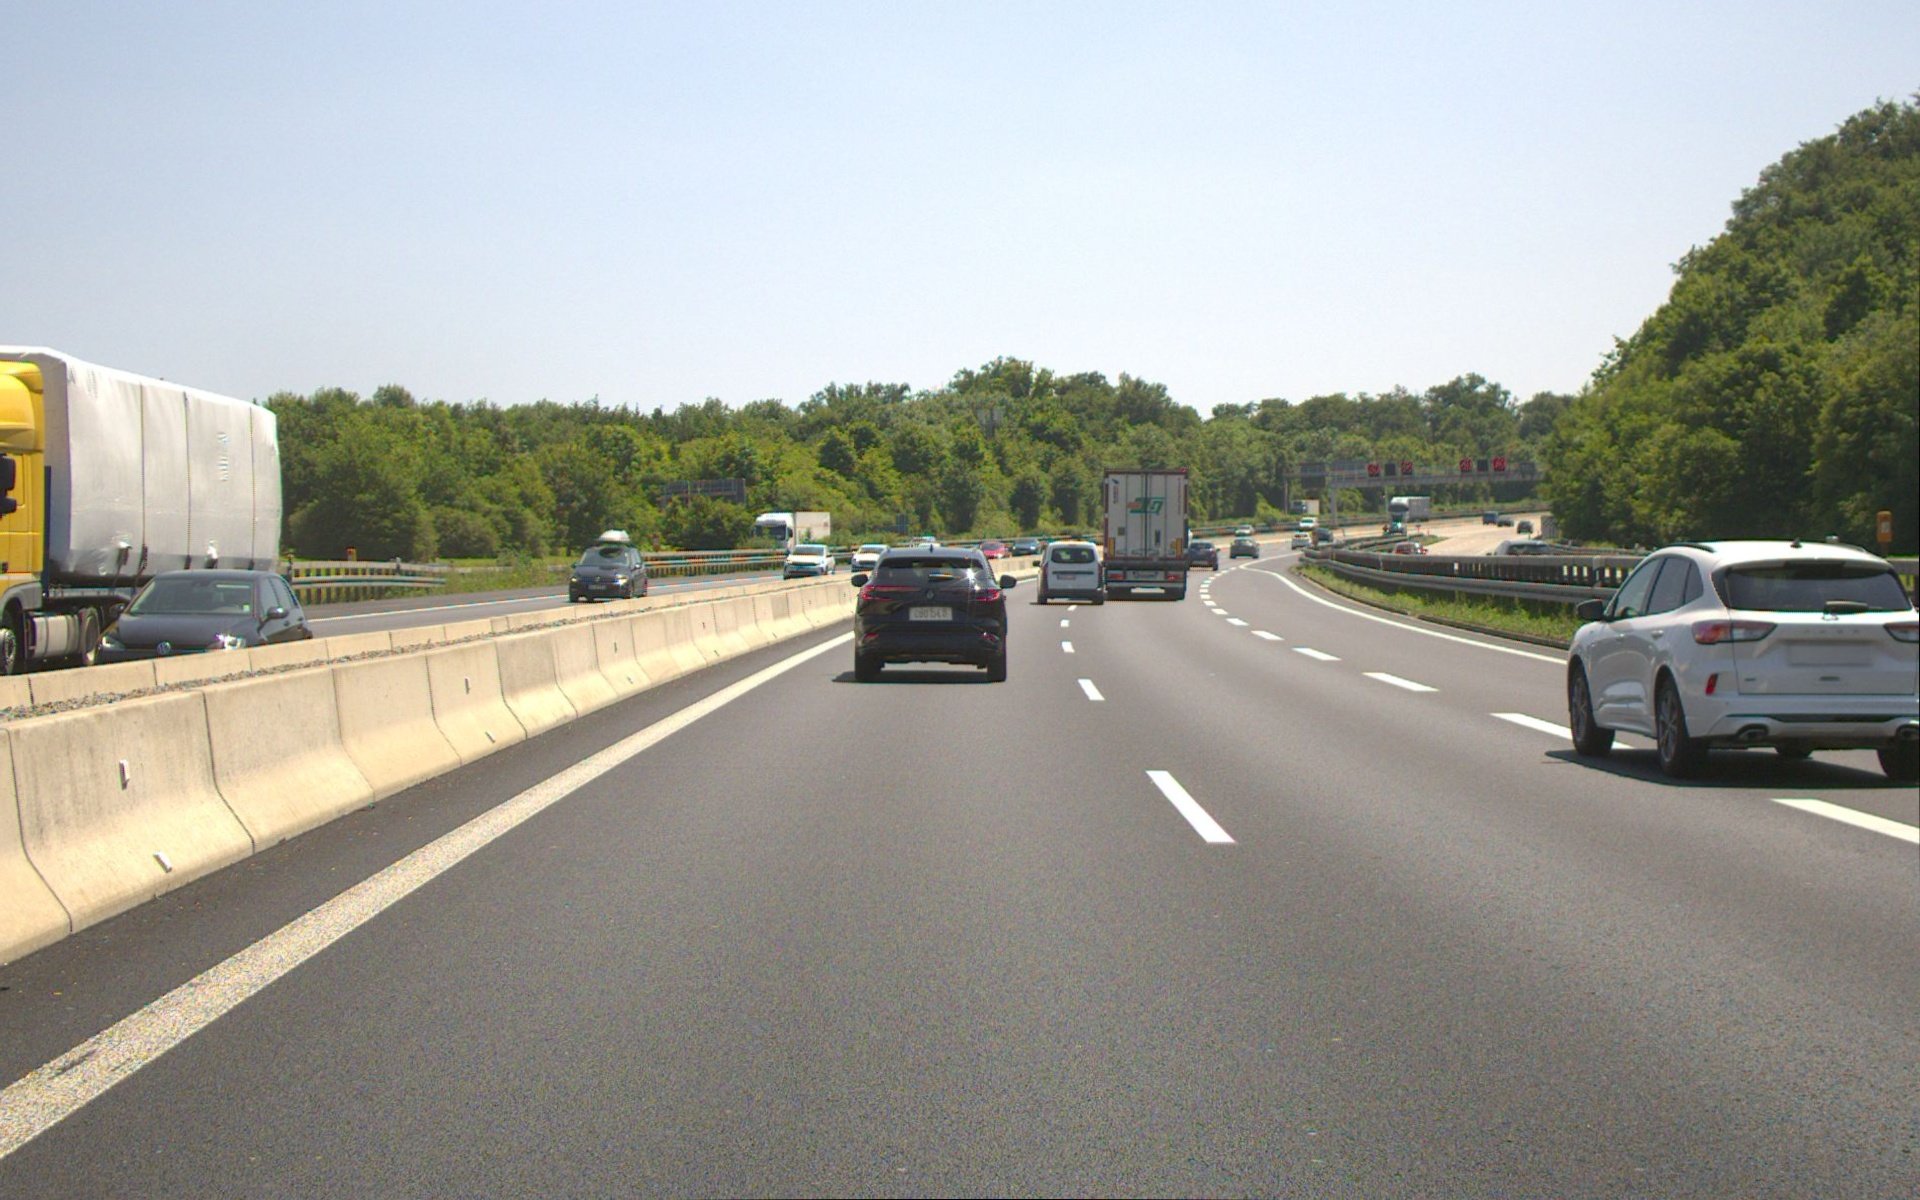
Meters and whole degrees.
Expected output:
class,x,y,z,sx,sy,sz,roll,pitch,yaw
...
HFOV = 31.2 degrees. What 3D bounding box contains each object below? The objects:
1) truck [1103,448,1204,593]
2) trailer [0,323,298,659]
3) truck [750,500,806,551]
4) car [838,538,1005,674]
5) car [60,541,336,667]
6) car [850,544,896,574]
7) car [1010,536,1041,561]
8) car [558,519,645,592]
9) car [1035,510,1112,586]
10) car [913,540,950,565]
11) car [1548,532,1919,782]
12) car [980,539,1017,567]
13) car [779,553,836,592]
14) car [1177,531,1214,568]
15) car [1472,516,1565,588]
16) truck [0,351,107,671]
class,x,y,z,sx,sy,sz,roll,pitch,yaw
truck,6.299,-2.480,110.352,3.032,4.403,12.017,0,1,4
trailer,-12.410,-1.462,50.413,2.718,4.297,12.824,0,1,1
truck,-12.748,-5.225,241.470,3.084,3.491,5.408,0,1,6
car,-0.511,0.051,41.788,1.779,1.572,4.001,0,1,-4
car,-8.521,0.021,38.826,1.994,1.345,4.258,0,1,3
car,-4.482,-2.116,178.124,1.994,1.538,5.041,0,1,3
car,4.809,-3.784,251.339,1.994,1.818,4.905,0,1,4
car,-10.452,-1.300,100.589,1.993,2.074,4.704,0,1,1
car,3.271,-1.500,98.205,1.994,2.007,4.000,-3,1,4
car,-1.690,-2.807,203.457,1.850,1.390,4.000,1,1,4
car,5.790,0.356,25.052,1.993,1.656,4.468,0,1,-3
car,2.295,-2.781,203.404,1.994,1.653,4.634,0,1,4
car,-6.570,-1.193,148.627,1.869,1.660,4.663,0,1,5
car,12.918,-2.738,188.719,1.994,2.007,4.000,0,1,3
car,16.338,-1.422,100.765,1.993,2.007,4.000,-2,1,0
truck,-12.558,-1.066,42.495,2.749,3.741,4.866,0,1,1
